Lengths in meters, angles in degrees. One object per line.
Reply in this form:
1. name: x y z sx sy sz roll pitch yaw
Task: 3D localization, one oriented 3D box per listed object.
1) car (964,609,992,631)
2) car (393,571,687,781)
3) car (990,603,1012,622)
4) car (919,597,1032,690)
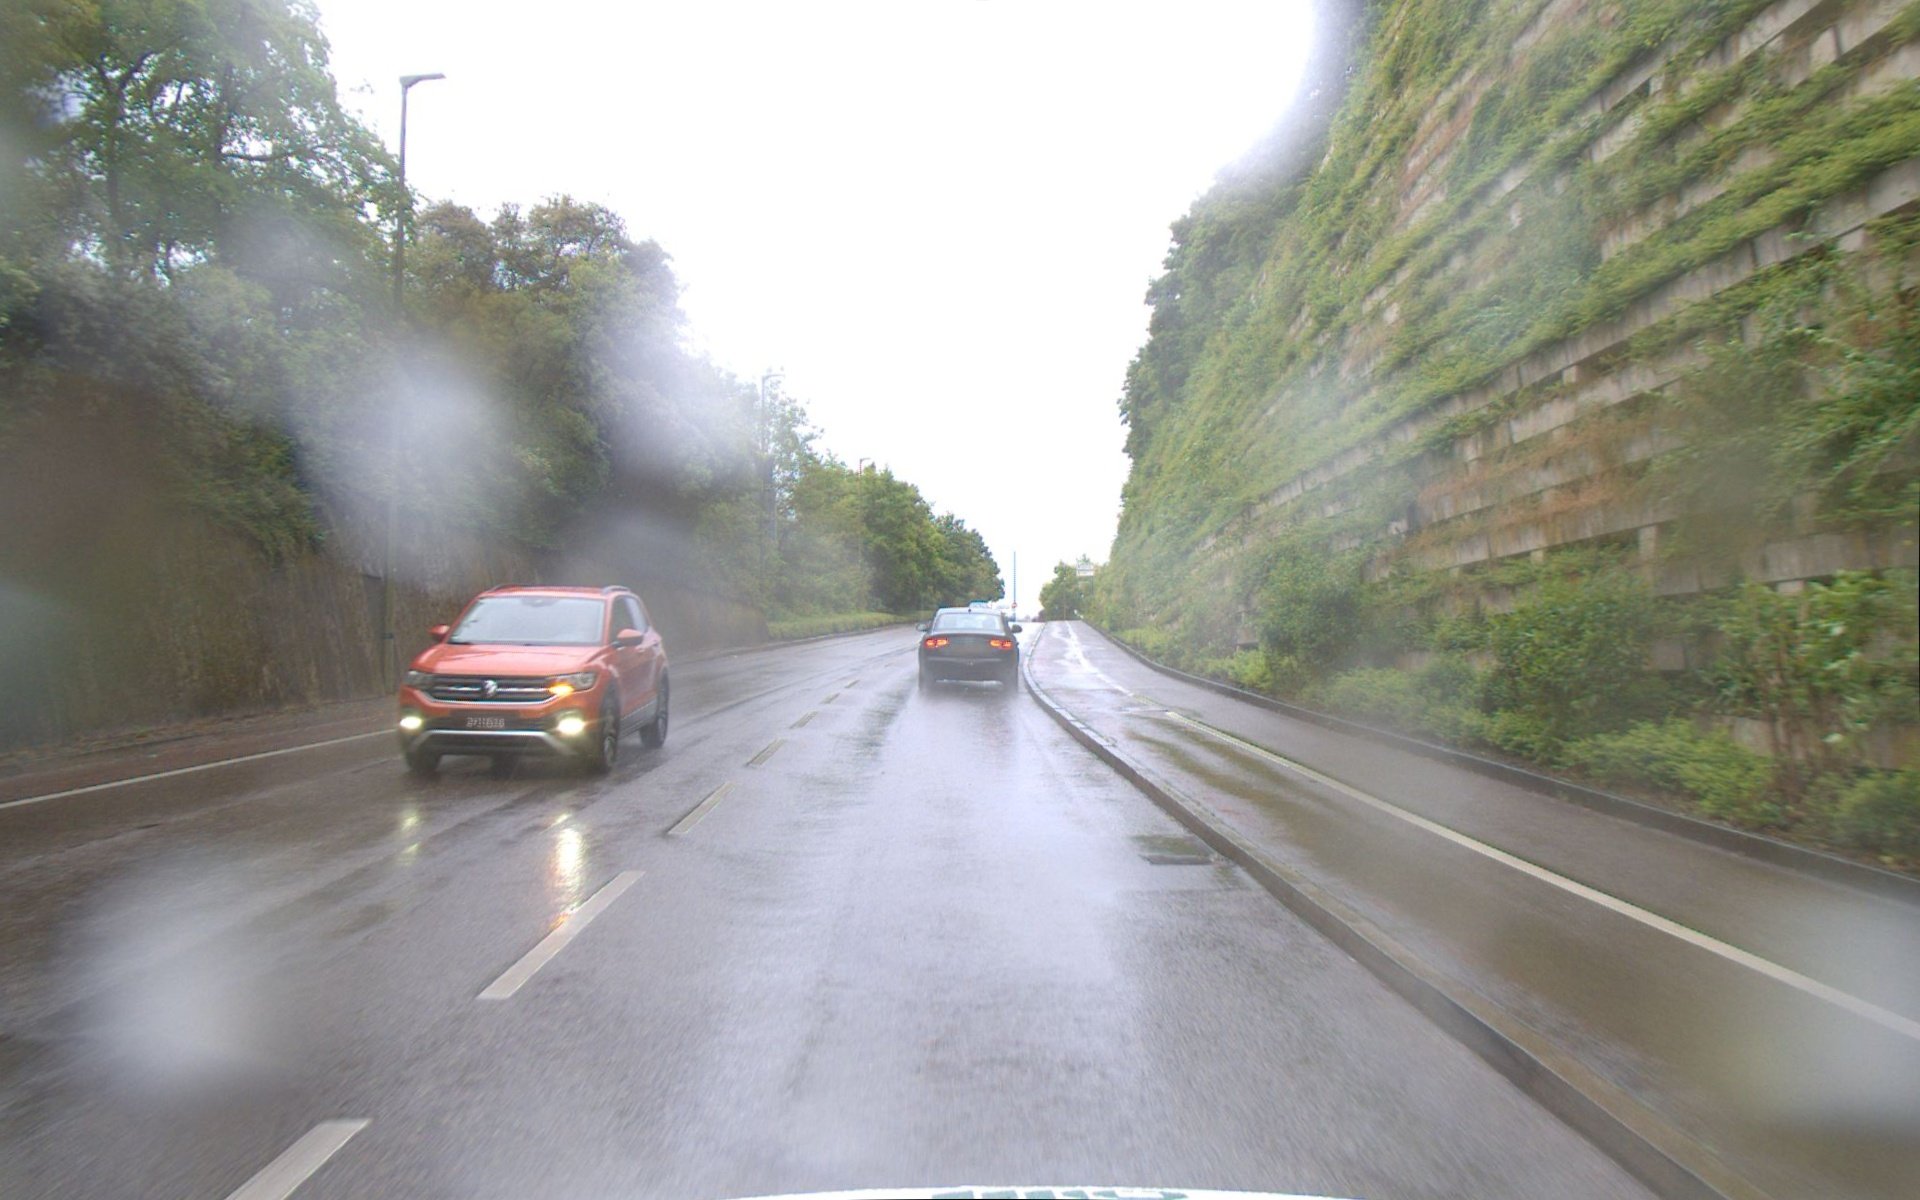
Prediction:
1. car: 1.302 1.418 117.822 1.826 1.474 4.378 -1 -1 2
2. car: -3.689 0.632 15.229 1.697 1.646 3.999 -1 -1 -1
3. car: 3.652 1.125 147.274 1.784 1.643 4.095 -1 -1 4
4. car: 0.274 0.750 29.670 1.854 1.518 4.207 -1 -1 0
